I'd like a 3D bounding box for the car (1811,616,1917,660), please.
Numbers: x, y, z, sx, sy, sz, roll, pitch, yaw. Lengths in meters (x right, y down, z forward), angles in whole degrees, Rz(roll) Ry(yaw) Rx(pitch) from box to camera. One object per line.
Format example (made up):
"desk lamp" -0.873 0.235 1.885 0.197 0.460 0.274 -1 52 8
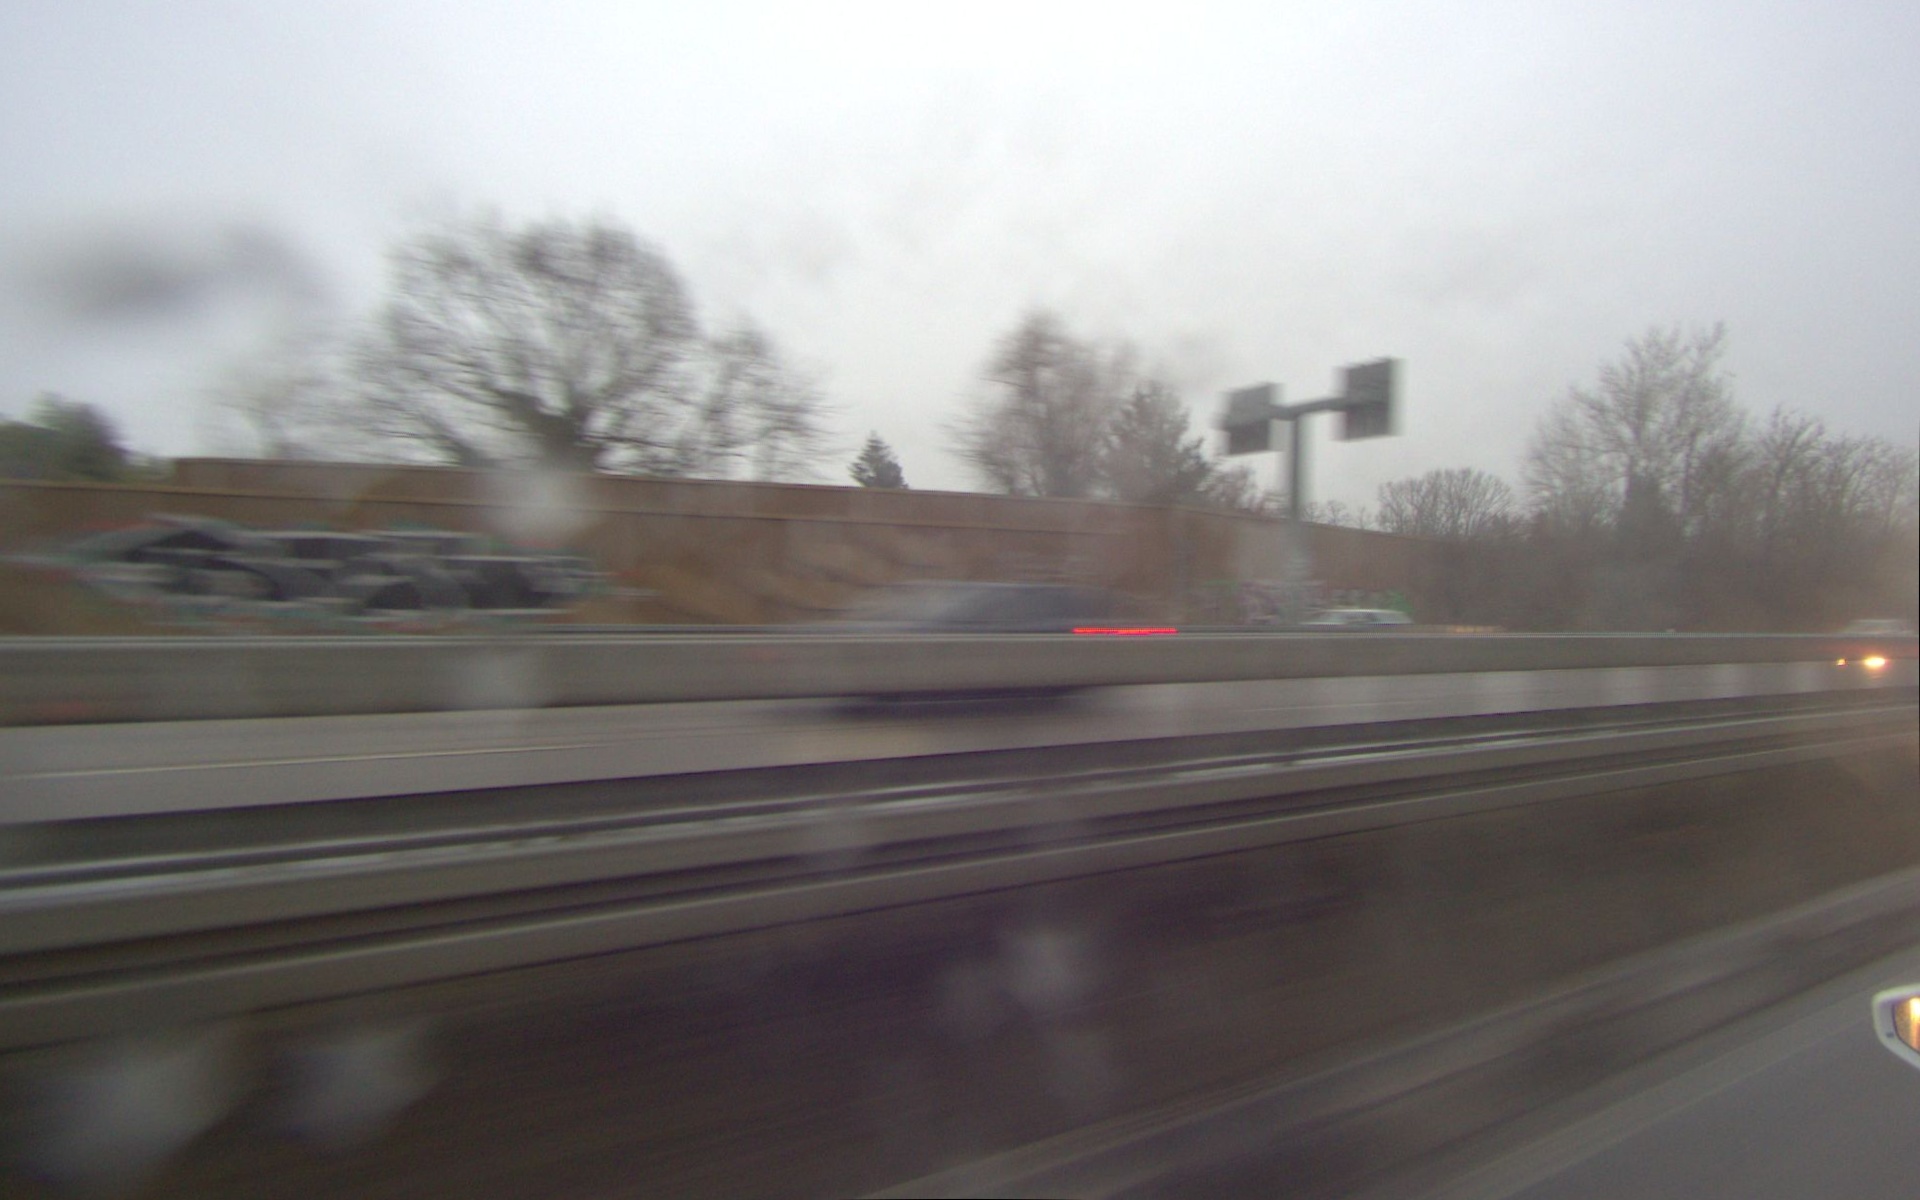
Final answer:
"car" 42.484 1.782 47.193 4.381 1.939 1.989 1 0 -22

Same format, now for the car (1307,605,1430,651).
"car" 13.487 0.921 33.210 3.463 1.414 1.650 1 0 -14

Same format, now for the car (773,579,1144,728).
"car" 0.044 0.602 12.544 4.305 1.576 1.828 1 0 -31
